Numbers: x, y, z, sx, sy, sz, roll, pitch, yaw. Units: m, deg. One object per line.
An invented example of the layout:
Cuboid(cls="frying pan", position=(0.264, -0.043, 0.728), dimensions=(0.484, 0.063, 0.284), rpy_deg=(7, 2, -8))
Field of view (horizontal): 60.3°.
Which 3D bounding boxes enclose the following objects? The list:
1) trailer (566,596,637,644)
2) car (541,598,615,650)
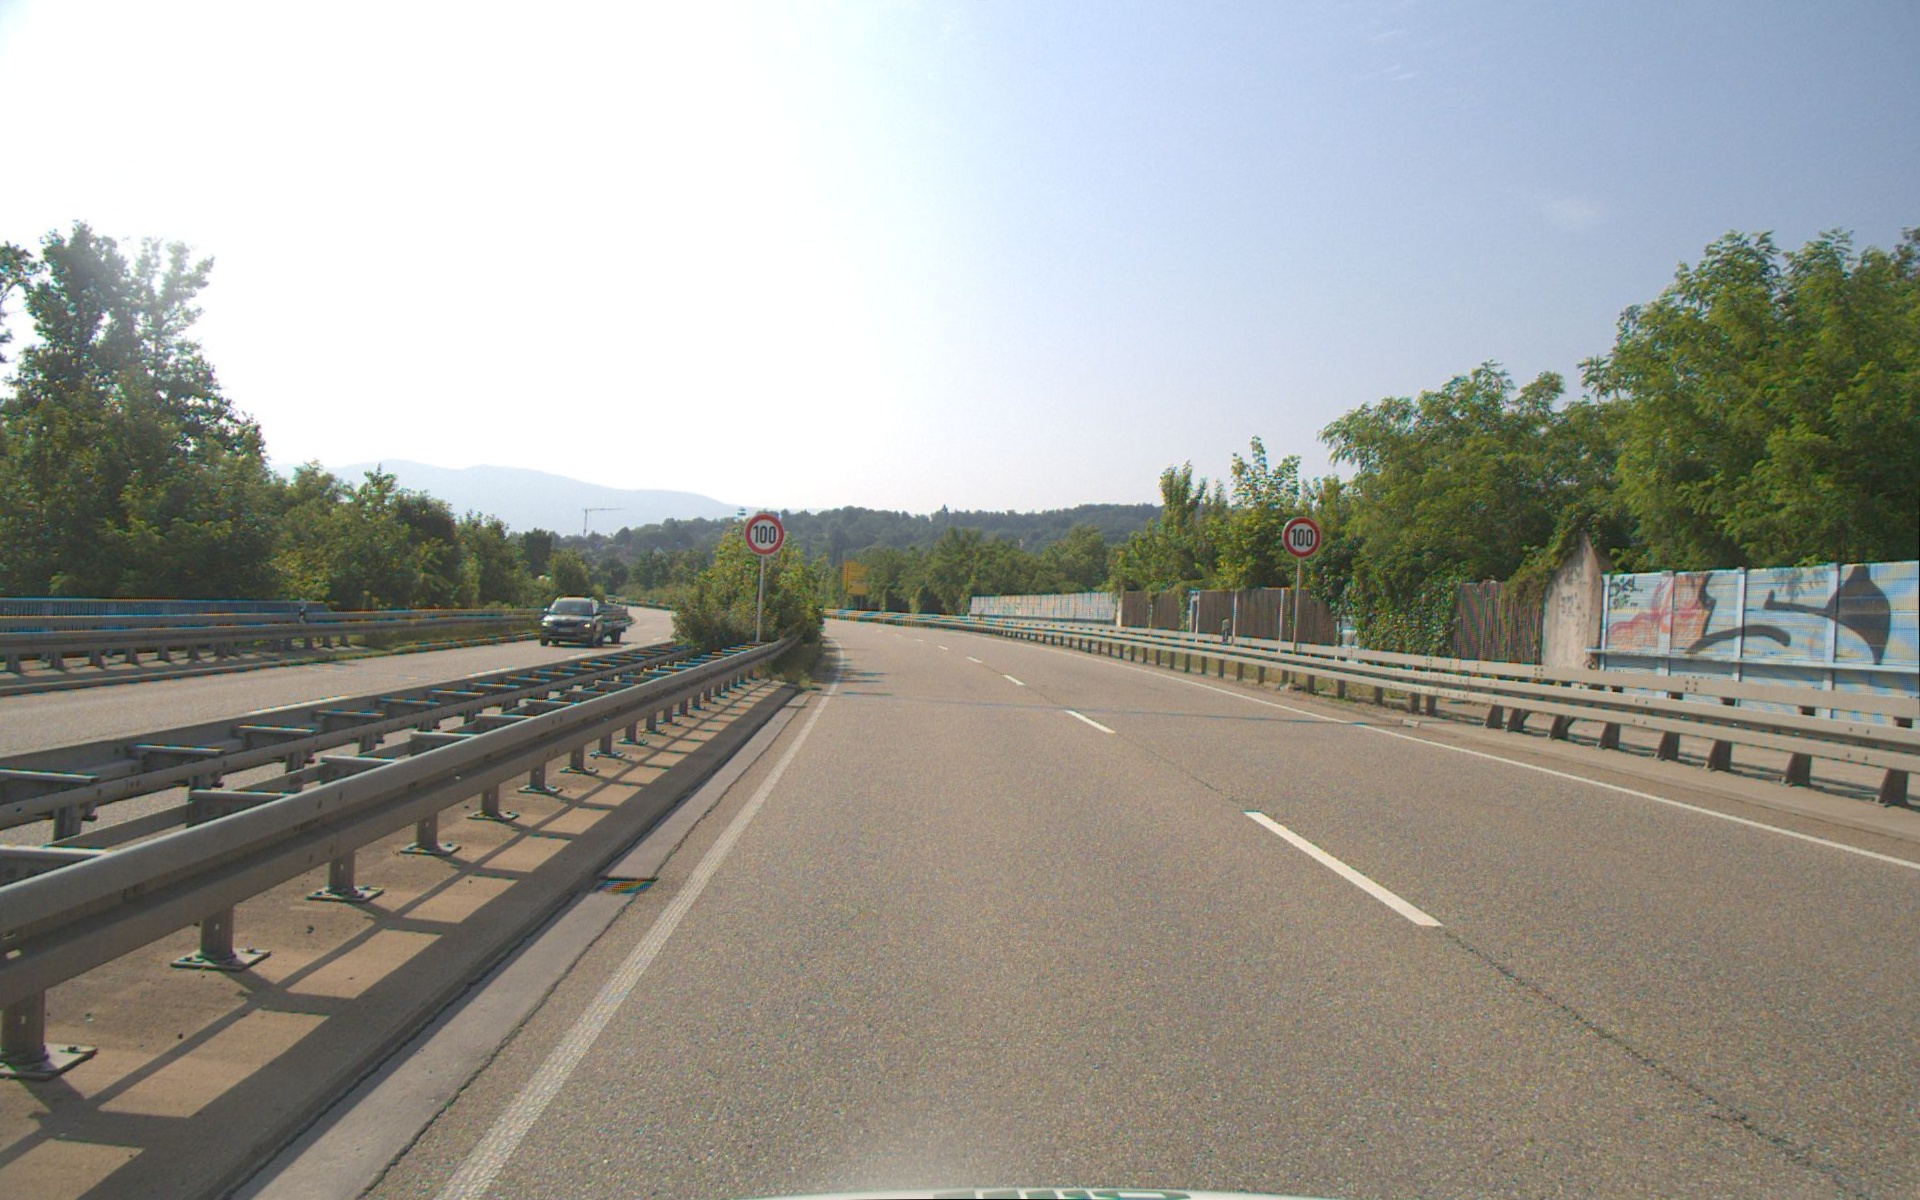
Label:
Cuboid(cls="trailer", position=(-13.104, 0.709, 60.747), dimensions=(1.684, 1.606, 4.810), rpy_deg=(3, 0, -3))
Cuboid(cls="car", position=(-12.957, 0.805, 56.335), dimensions=(1.689, 1.624, 3.998), rpy_deg=(3, 0, -3))
